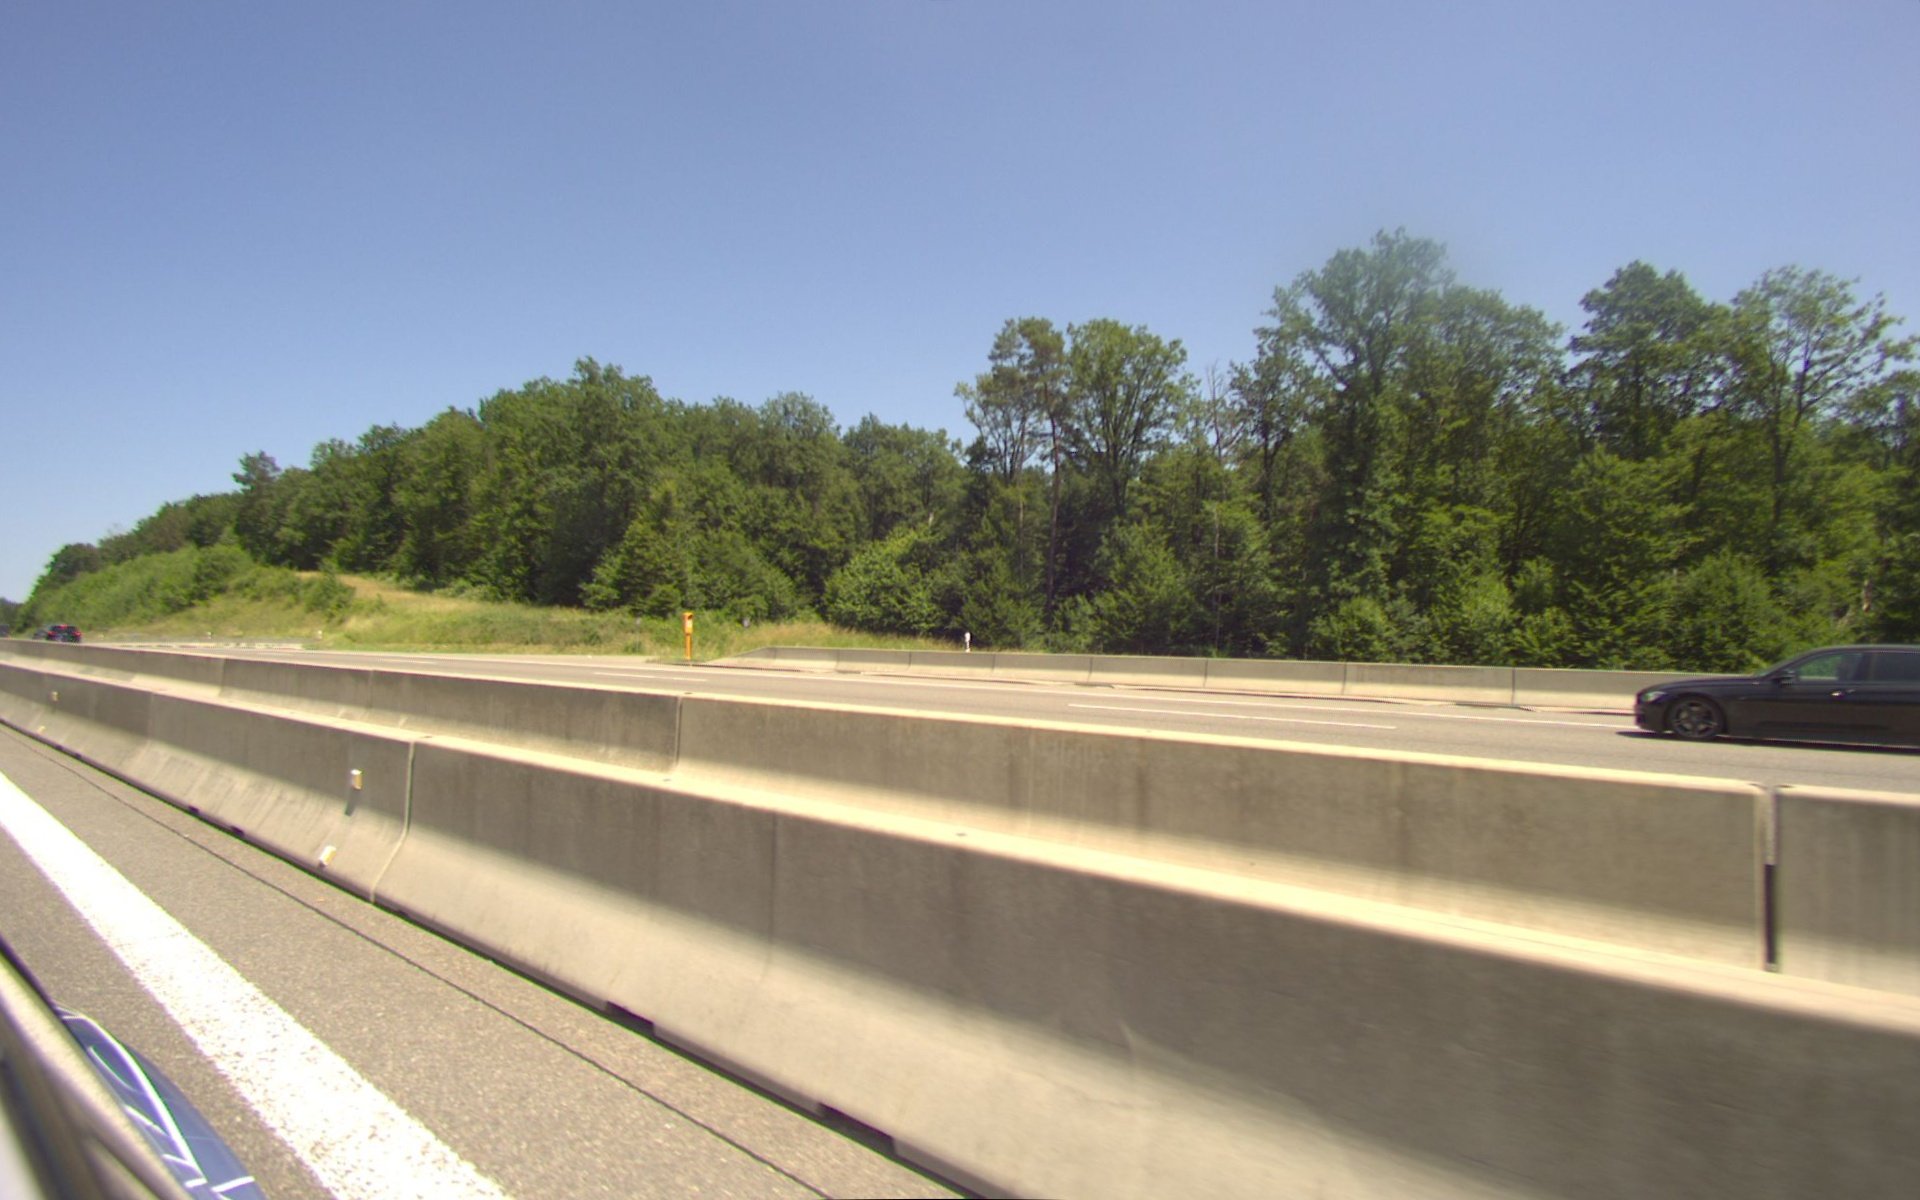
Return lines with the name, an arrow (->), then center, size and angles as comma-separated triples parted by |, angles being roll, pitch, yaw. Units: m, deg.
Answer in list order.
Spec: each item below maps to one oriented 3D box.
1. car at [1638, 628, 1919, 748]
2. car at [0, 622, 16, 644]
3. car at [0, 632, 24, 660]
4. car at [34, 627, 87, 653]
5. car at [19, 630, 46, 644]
car -> 11.949, 1.130, 13.411 | 4.760, 1.452, 1.820 | -1, -3, 40
car -> -88.814, 3.015, 93.308 | 4.807, 2.029, 1.974 | -1, -1, 39
car -> -59.753, 2.828, 62.756 | 4.928, 1.682, 1.973 | -1, -2, 41
car -> -62.067, 2.747, 69.794 | 5.277, 1.687, 1.973 | -2, -4, 41
car -> -90.500, 3.637, 98.782 | 4.298, 1.315, 1.471 | -2, -4, 42
